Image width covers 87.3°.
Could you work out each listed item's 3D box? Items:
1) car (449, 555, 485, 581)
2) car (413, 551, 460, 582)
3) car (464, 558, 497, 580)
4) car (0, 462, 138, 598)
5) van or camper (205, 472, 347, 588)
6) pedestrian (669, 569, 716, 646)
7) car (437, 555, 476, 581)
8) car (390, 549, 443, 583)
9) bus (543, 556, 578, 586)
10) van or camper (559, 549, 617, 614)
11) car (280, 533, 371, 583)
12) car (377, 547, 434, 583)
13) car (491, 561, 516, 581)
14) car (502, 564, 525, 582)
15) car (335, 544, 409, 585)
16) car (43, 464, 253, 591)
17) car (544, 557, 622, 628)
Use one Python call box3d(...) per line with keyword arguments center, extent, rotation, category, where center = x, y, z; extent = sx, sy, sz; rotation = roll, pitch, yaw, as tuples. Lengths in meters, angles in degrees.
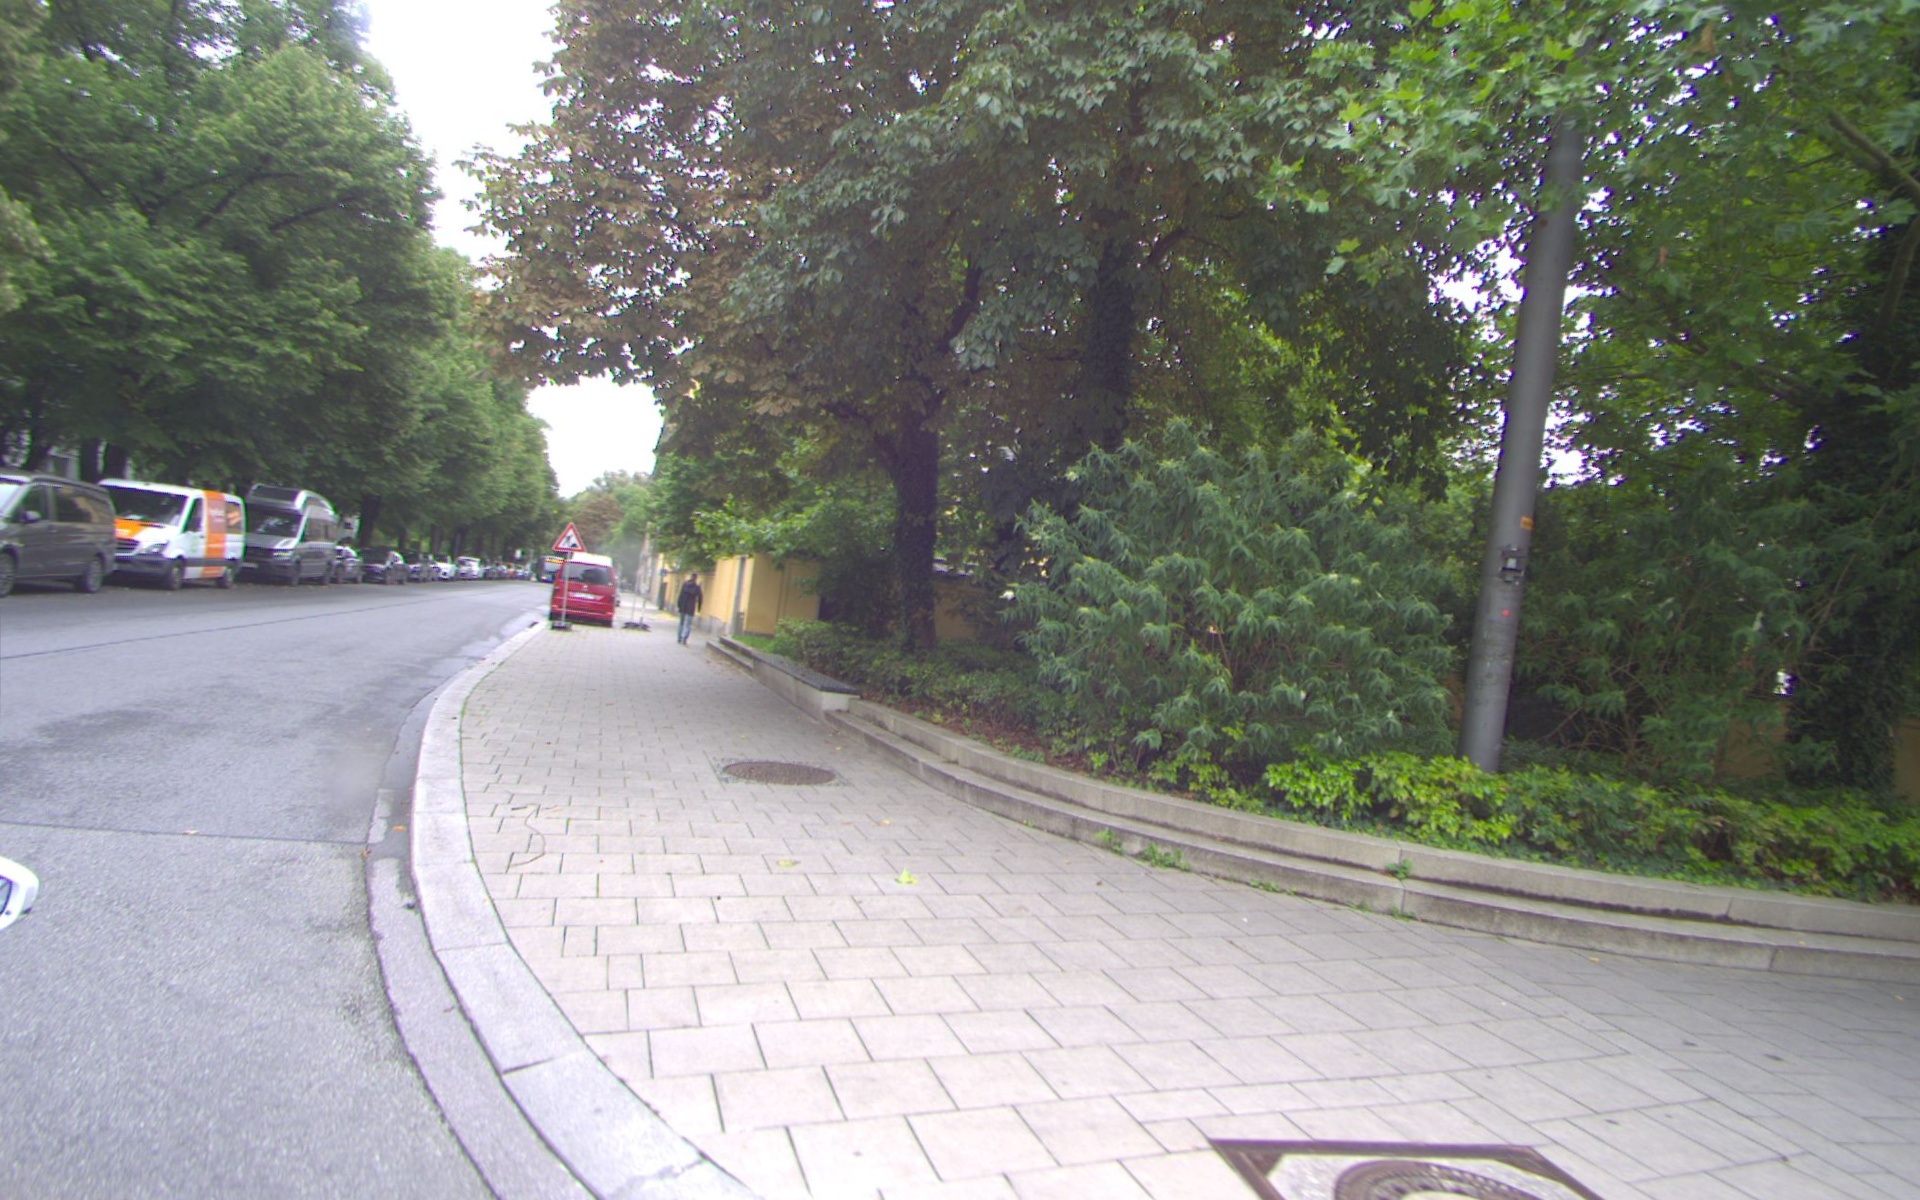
box3d(center=(-36.838, -2.379, 75.275), extent=(1.833, 1.582, 3.982), rotation=(8, -1, -20), category="car")
box3d(center=(-31.408, -1.997, 60.490), extent=(1.833, 1.491, 3.982), rotation=(8, -1, -20), category="car")
box3d(center=(-38.947, -2.507, 81.768), extent=(1.833, 1.491, 3.982), rotation=(8, -1, -20), category="car")
box3d(center=(-15.550, -1.173, 16.279), extent=(1.868, 1.956, 5.181), rotation=(7, -1, -22), category="car")
box3d(center=(-20.970, -2.020, 31.164), extent=(1.979, 2.980, 5.984), rotation=(7, -1, -20), category="van or camper")
box3d(center=(-6.936, 0.180, 26.065), extent=(0.864, 1.853, 1.047), rotation=(8, 0, -20), category="pedestrian")
box3d(center=(-34.945, -2.174, 69.914), extent=(1.833, 1.491, 3.982), rotation=(8, -1, -20), category="car")
box3d(center=(-29.571, -1.829, 54.855), extent=(1.833, 1.491, 3.982), rotation=(8, -1, -20), category="car")
box3d(center=(-46.852, -3.362, 118.246), extent=(2.684, 2.933, 14.495), rotation=(8, -1, -19), category="bus")
box3d(center=(-17.195, -0.869, 46.531), extent=(2.109, 2.576, 5.220), rotation=(7, -1, -20), category="van or camper")
box3d(center=(-23.089, -1.500, 36.762), extent=(1.855, 1.433, 3.982), rotation=(8, -1, -20), category="car")
box3d(center=(-27.584, -1.718, 50.171), extent=(1.834, 1.491, 3.981), rotation=(8, -1, -21), category="car")
box3d(center=(-46.488, -2.914, 102.511), extent=(1.833, 1.721, 3.982), rotation=(8, -1, -20), category="car")
box3d(center=(-49.163, -2.965, 110.791), extent=(1.833, 1.590, 3.982), rotation=(8, -1, -20), category="car")
box3d(center=(-24.538, -1.471, 42.125), extent=(1.855, 1.363, 3.982), rotation=(8, -1, -20), category="car")
box3d(center=(-18.071, -1.495, 22.752), extent=(1.926, 2.300, 5.220), rotation=(7, -1, -20), category="car")
box3d(center=(-11.939, -0.270, 31.878), extent=(1.970, 1.861, 4.692), rotation=(7, -1, -21), category="car")
